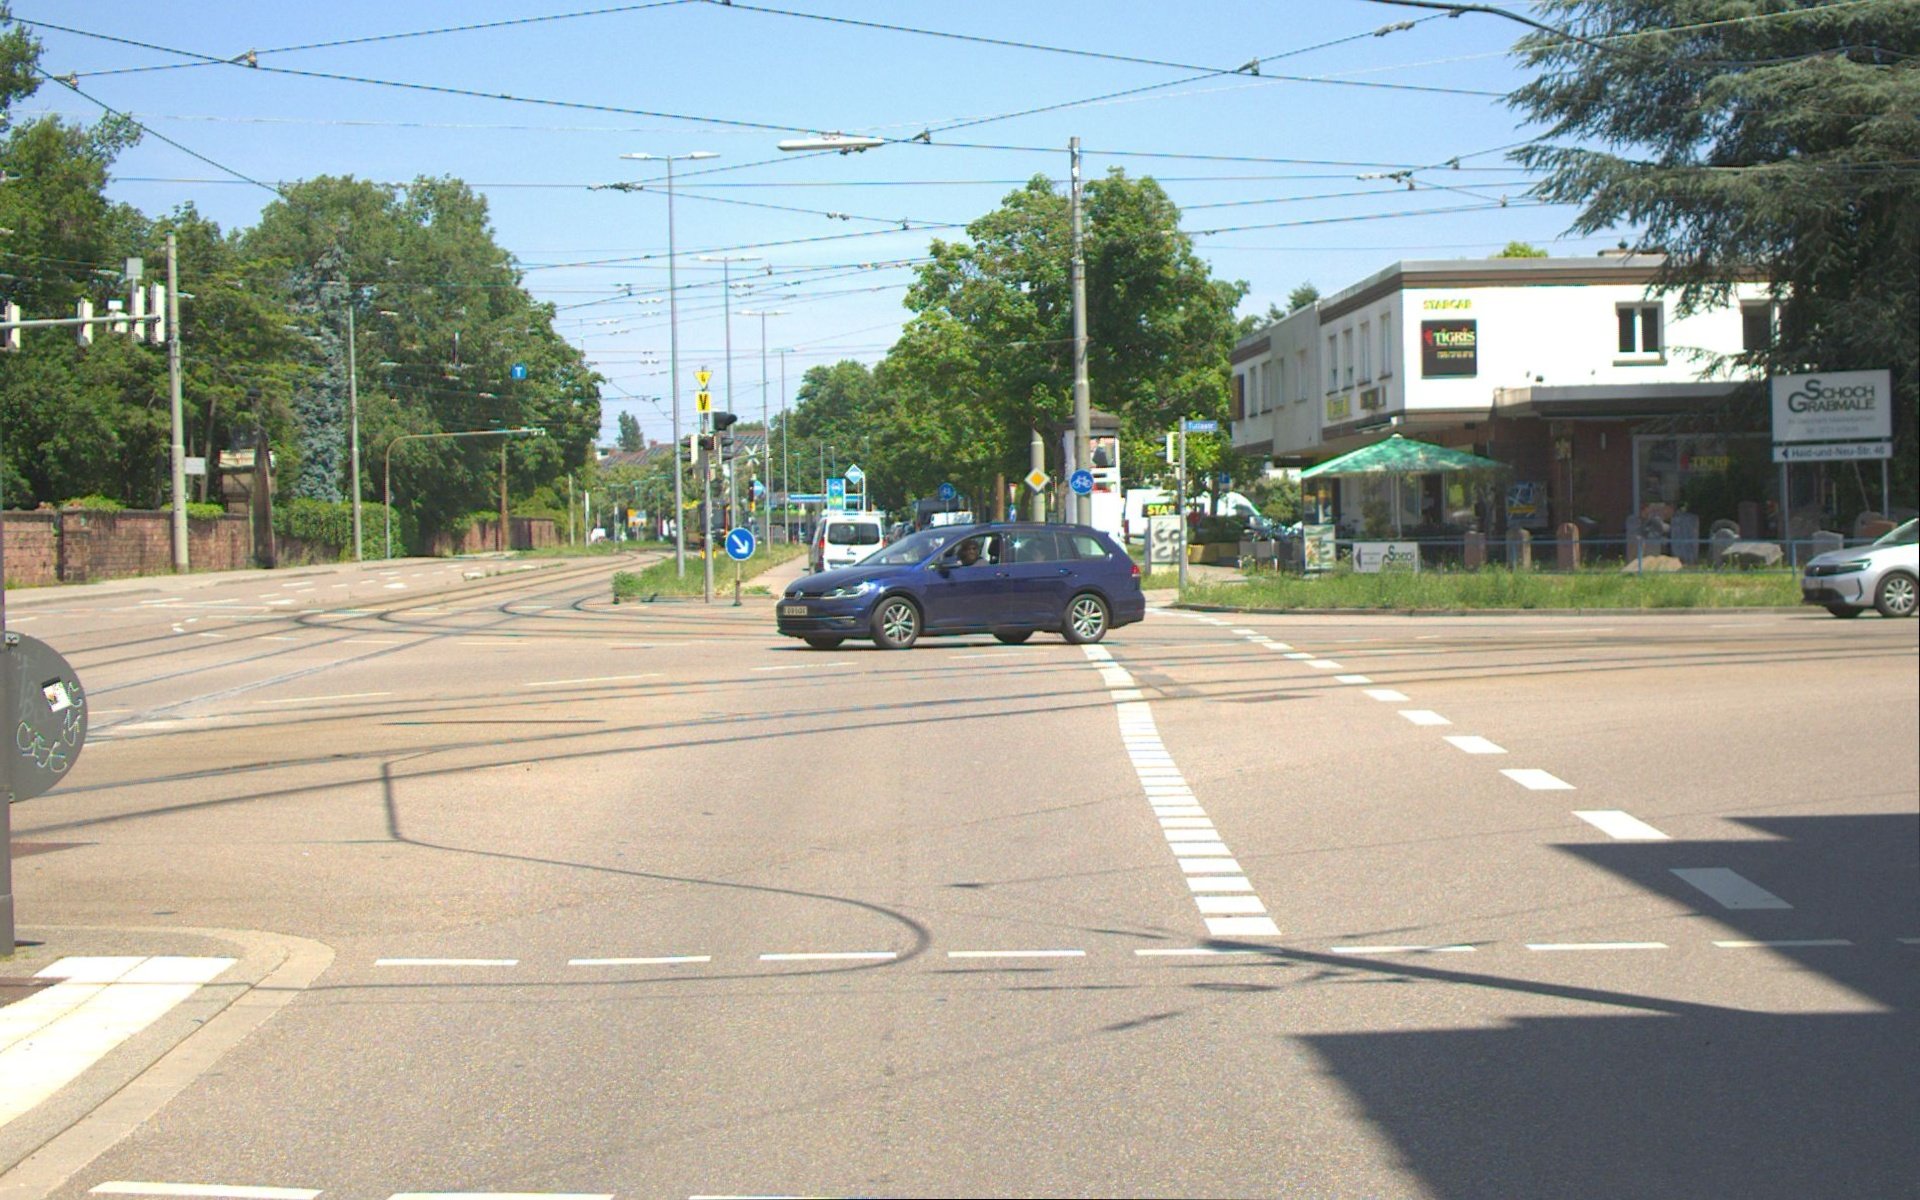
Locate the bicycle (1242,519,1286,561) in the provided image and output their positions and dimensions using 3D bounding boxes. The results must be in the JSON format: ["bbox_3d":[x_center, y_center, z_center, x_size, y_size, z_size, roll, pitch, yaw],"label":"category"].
[{"bbox_3d":[7.473,-1.484,84.504,1.034,1.011,2.637,0,2,6],"label":"bicycle"}]

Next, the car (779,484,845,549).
[{"bbox_3d":[-4.757,-2.671,111.095,1.993,2.007,4.000,1,0,-1],"label":"car"}]

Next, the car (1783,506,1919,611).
[{"bbox_3d":[13.355,-0.588,46.229,4.037,1.358,1.824,-1,1,-11],"label":"car"}]

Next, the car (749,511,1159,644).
[{"bbox_3d":[-0.047,-0.290,40.297,4.463,1.437,1.863,-2,2,-31],"label":"car"}]

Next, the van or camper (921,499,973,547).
[{"bbox_3d":[-0.501,-2.906,130.370,1.922,1.766,4.000,-1,1,-1],"label":"van or camper"}]

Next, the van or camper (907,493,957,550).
[{"bbox_3d":[-1.260,-3.502,152.835,1.993,2.456,4.001,-1,1,-4],"label":"van or camper"}]

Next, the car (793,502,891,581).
[{"bbox_3d":[-2.889,-1.432,83.513,1.993,1.853,4.001,-1,1,-7],"label":"car"}]

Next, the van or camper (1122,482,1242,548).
[{"bbox_3d":[9.247,-3.530,143.389,4.756,2.662,2.136,-1,1,-3],"label":"van or camper"}]
